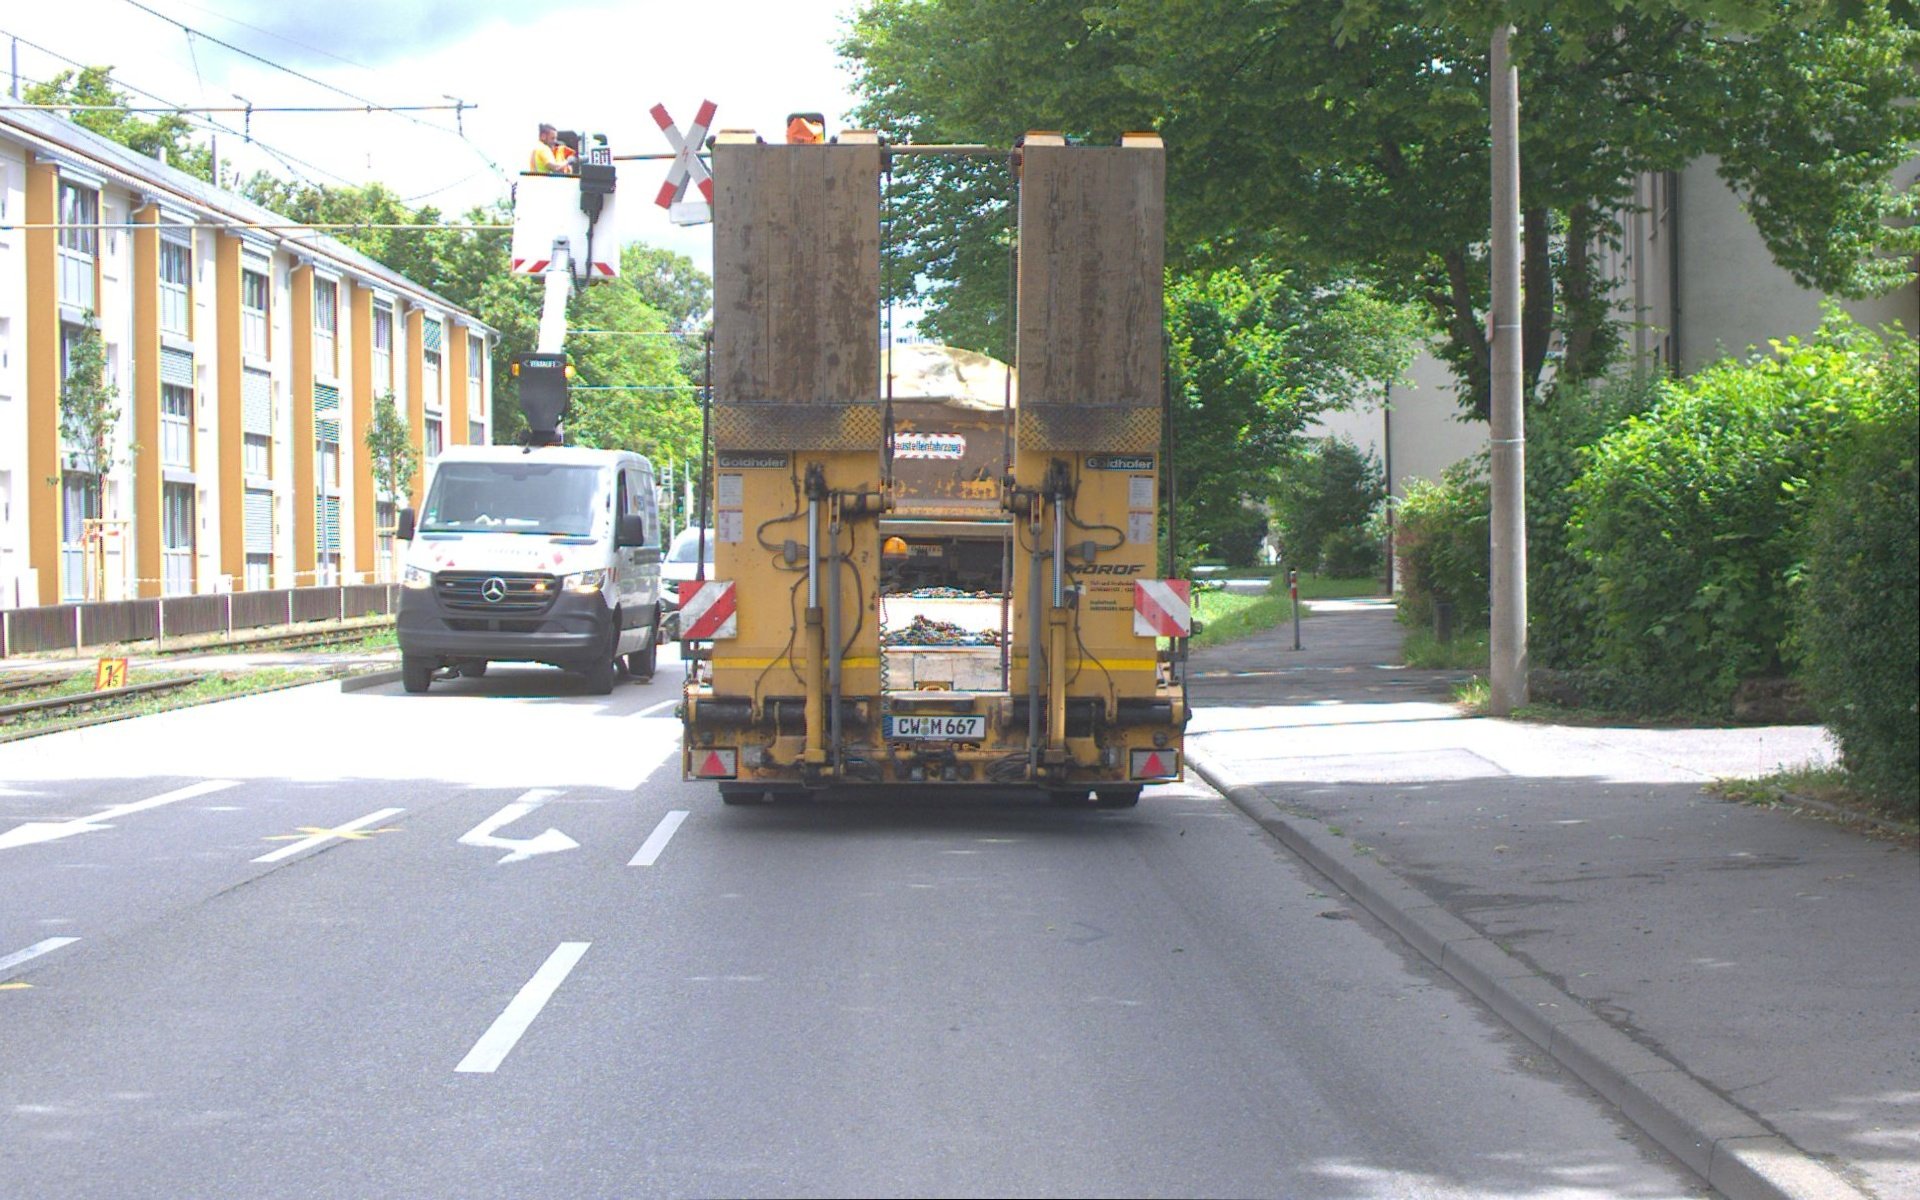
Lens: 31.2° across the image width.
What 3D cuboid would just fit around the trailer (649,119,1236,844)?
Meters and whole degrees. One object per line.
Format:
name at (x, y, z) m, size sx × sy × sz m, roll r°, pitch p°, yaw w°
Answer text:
trailer at (-0.066, -0.691, 22.482) m, size 2.822 × 3.512 × 11.052 m, roll 1°, pitch 1°, yaw 0°

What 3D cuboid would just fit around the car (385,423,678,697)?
car at (-4.092, -0.423, 33.907) m, size 1.993 × 2.422 × 6.322 m, roll 1°, pitch 1°, yaw 1°

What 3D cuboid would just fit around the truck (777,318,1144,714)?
truck at (0.031, -0.766, 31.806) m, size 2.917 × 3.156 × 7.680 m, roll 1°, pitch 1°, yaw 0°

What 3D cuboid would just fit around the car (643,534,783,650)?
car at (-3.474, -0.144, 48.916) m, size 1.718 × 1.547 × 3.917 m, roll 1°, pitch 1°, yaw 0°
